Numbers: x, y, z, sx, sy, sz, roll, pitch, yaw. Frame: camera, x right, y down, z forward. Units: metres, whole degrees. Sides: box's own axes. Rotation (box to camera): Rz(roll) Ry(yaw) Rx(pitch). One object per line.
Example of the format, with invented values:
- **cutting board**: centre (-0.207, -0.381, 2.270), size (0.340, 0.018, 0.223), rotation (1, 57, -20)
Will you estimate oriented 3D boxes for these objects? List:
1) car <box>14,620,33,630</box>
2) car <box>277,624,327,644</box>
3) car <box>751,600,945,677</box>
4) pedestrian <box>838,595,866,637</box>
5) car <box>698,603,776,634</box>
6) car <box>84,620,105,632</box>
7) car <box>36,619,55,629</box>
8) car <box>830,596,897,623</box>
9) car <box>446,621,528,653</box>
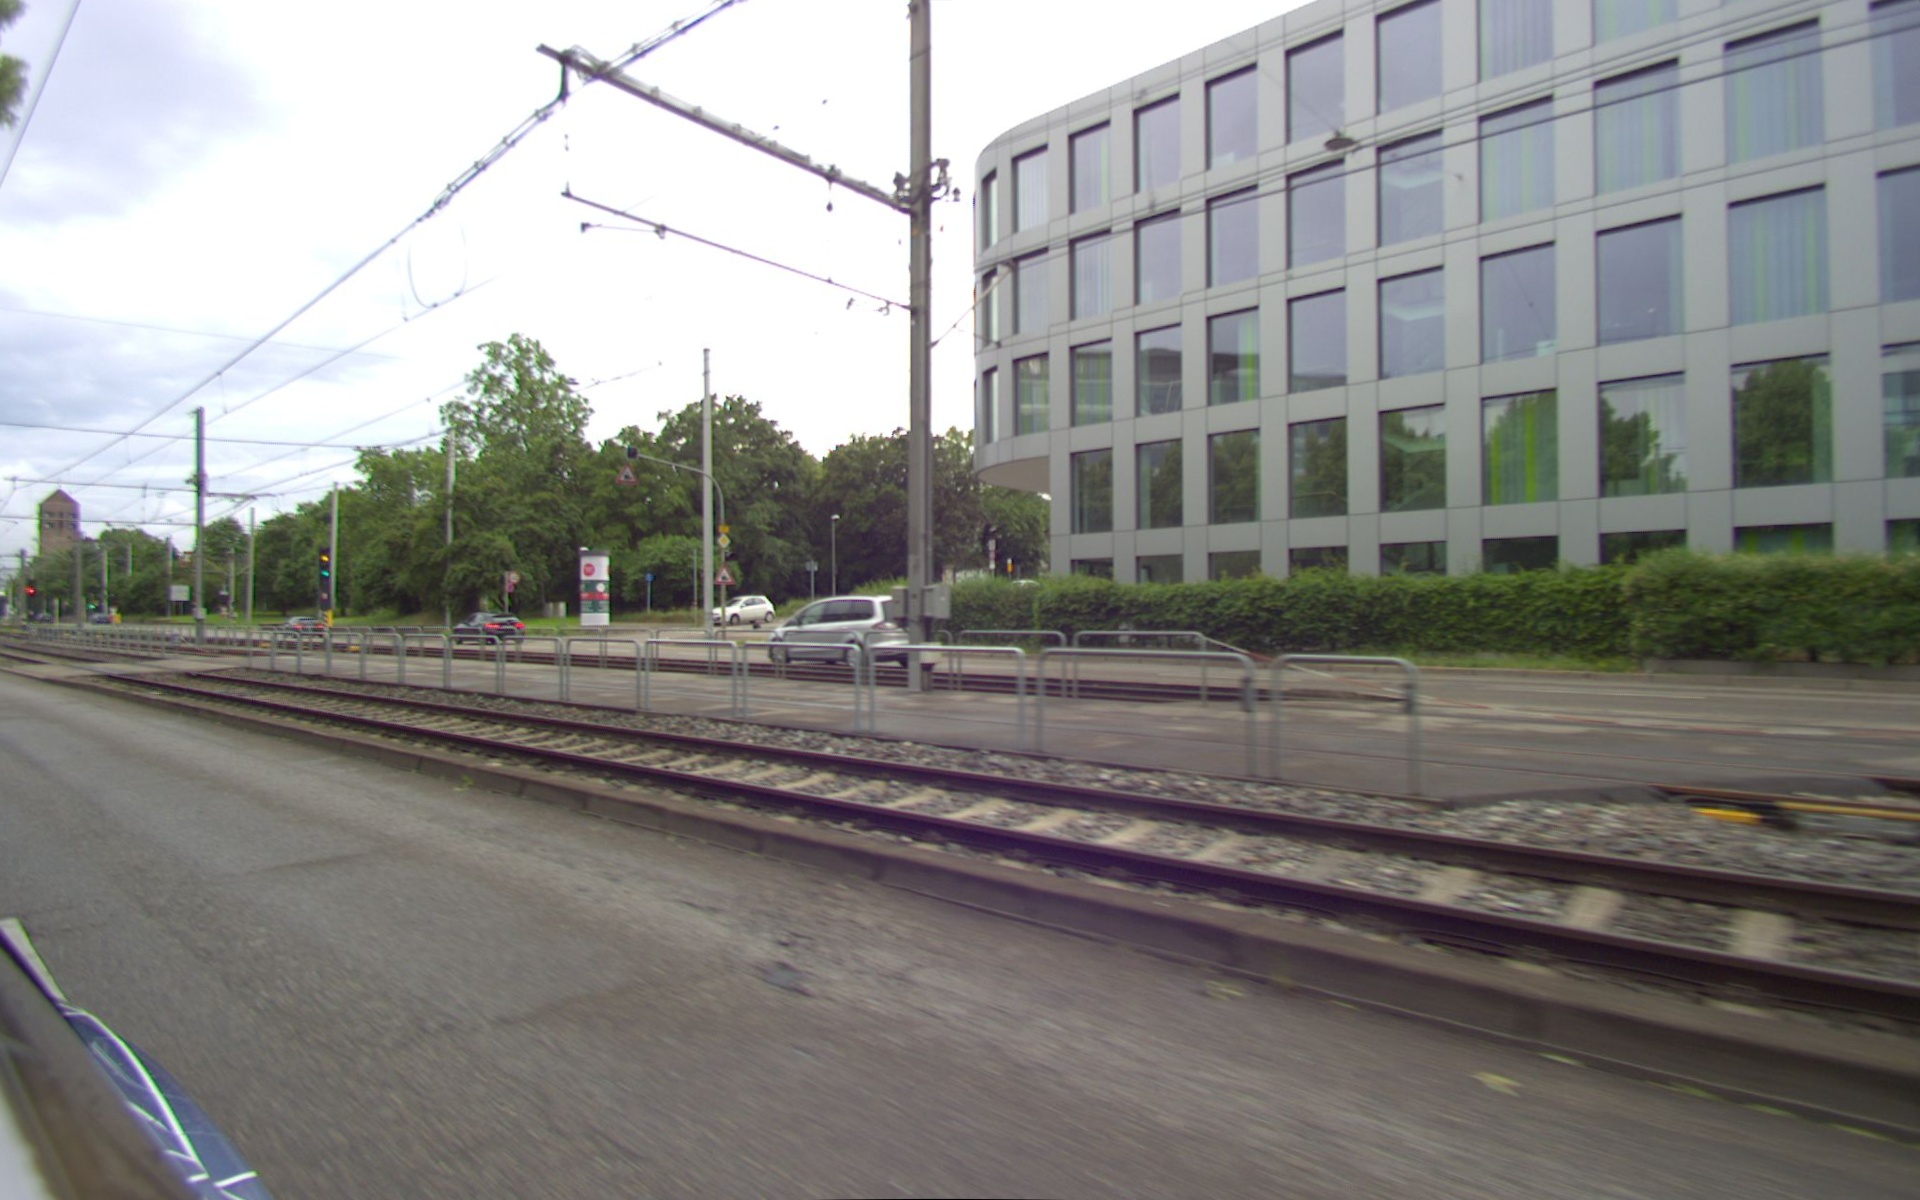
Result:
- **car**: centre (-143.151, 3.810, 154.683), size (4.309, 1.497, 1.870), rotation (-1, -1, 44)
- **car**: centre (-43.191, 2.235, 66.382), size (3.986, 1.253, 1.738), rotation (-1, -1, 41)
- **car**: centre (-2.763, 0.884, 24.173), size (4.883, 1.657, 1.882), rotation (-1, -1, 43)
- **pedestrian**: centre (-4.359, 0.625, 40.698), size (0.845, 1.660, 0.716), rotation (-1, 0, 42)
- **car**: centre (-12.320, 1.024, 56.116), size (1.923, 1.464, 3.882), rotation (-2, 2, 39)
- **car**: centre (-112.017, 3.357, 131.006), size (3.901, 1.408, 1.741), rotation (-1, -1, 44)
- **car**: centre (-146.784, 3.899, 162.451), size (4.848, 1.607, 1.926), rotation (-1, -1, 44)
- **car**: centre (-6.001, 0.572, 63.547), size (1.871, 1.464, 4.035), rotation (-2, 2, 39)
- **car**: centre (-21.069, 1.633, 45.018), size (4.257, 1.357, 1.779), rotation (-1, -1, 41)
